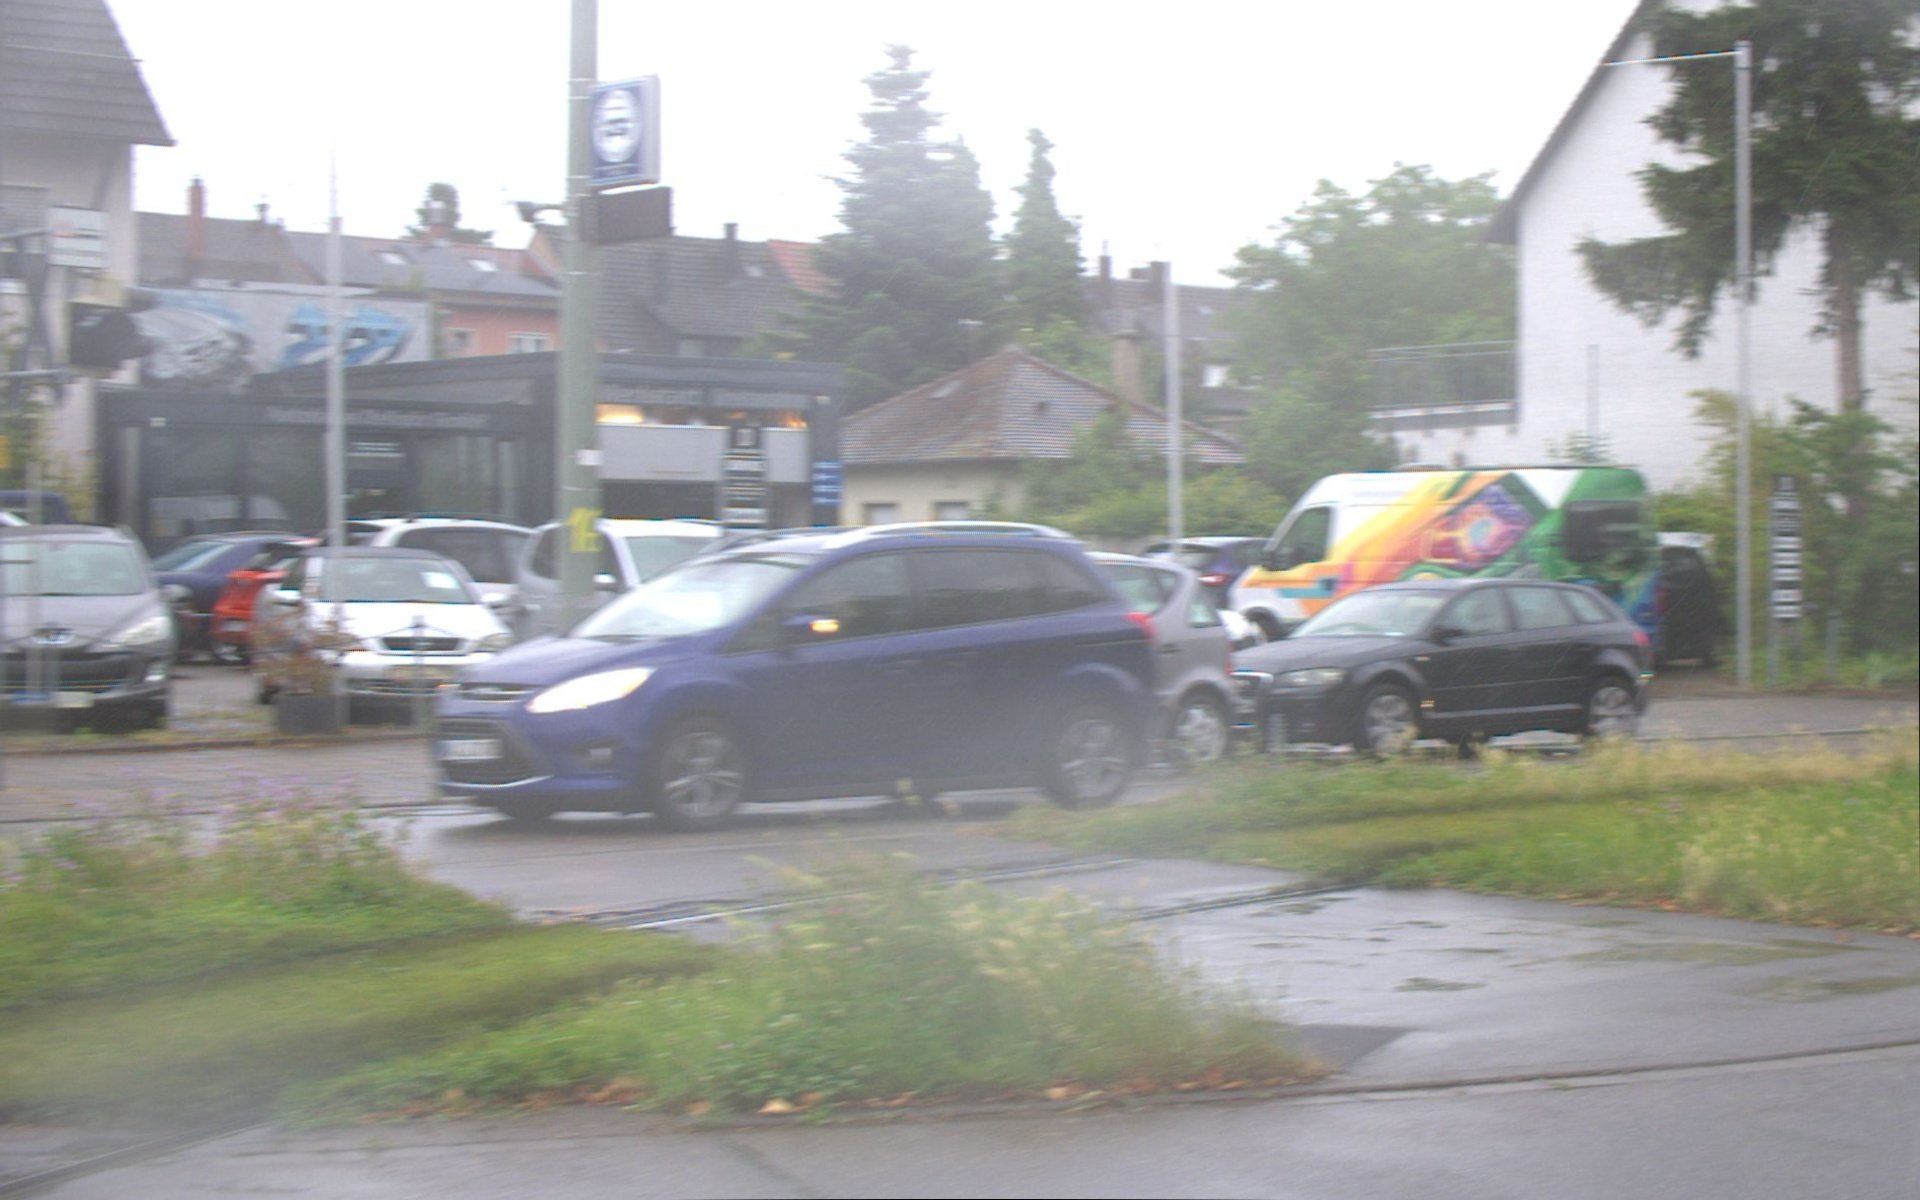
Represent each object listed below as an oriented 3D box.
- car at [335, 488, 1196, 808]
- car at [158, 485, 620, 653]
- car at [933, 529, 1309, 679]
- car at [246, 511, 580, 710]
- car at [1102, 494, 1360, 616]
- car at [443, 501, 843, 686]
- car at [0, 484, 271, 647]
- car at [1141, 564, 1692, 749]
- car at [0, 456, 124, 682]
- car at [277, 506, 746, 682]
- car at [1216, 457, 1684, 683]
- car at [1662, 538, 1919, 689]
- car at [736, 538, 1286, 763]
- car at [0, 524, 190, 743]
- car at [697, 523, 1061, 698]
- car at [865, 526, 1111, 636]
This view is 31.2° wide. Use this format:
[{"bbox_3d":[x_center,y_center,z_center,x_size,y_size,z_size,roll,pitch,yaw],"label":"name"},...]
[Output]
[{"bbox_3d":[-1.004,0.290,19.465,4.559,1.600,1.999,2,-1,-41],"label":"car"},{"bbox_3d":[-6.047,-0.330,36.623,4.433,1.681,1.999,-1,0,-37],"label":"car"},{"bbox_3d":[1.569,0.023,34.719,1.717,1.391,3.841,2,-1,-36],"label":"car"},{"bbox_3d":[-4.639,0.079,28.695,1.827,1.499,4.059,2,0,-22],"label":"car"},{"bbox_3d":[3.755,-0.597,46.917,1.862,1.575,4.392,0,0,29],"label":"car"},{"bbox_3d":[-2.939,-0.100,31.234,1.802,1.573,3.871,-1,2,-38],"label":"car"},{"bbox_3d":[-9.836,-0.361,36.686,4.433,1.681,1.999,-1,0,-37],"label":"car"},{"bbox_3d":[3.676,0.463,27.278,4.375,1.334,1.722,2,-1,-38],"label":"car"},{"bbox_3d":[-9.981,-0.267,30.731,4.433,2.007,1.999,-1,0,-37],"label":"car"},{"bbox_3d":[-4.509,-0.080,34.911,4.433,1.681,1.760,-1,0,-37],"label":"car"},{"bbox_3d":[5.542,-0.345,39.495,2.145,2.398,5.147,2,-1,-40],"label":"car"},{"bbox_3d":[10.636,0.123,42.061,3.884,1.559,1.999,-5,4,-40],"label":"car"},{"bbox_3d":[0.403,0.377,24.691,3.632,1.499,1.722,2,-1,-38],"label":"car"},{"bbox_3d":[-6.846,0.229,26.060,1.827,1.499,4.059,2,0,-11],"label":"car"},{"bbox_3d":[-0.833,0.086,33.189,1.717,1.568,3.616,2,-1,-36],"label":"car"},{"bbox_3d":[0.472,-0.287,51.427,1.791,1.575,4.440,0,0,29],"label":"car"}]
